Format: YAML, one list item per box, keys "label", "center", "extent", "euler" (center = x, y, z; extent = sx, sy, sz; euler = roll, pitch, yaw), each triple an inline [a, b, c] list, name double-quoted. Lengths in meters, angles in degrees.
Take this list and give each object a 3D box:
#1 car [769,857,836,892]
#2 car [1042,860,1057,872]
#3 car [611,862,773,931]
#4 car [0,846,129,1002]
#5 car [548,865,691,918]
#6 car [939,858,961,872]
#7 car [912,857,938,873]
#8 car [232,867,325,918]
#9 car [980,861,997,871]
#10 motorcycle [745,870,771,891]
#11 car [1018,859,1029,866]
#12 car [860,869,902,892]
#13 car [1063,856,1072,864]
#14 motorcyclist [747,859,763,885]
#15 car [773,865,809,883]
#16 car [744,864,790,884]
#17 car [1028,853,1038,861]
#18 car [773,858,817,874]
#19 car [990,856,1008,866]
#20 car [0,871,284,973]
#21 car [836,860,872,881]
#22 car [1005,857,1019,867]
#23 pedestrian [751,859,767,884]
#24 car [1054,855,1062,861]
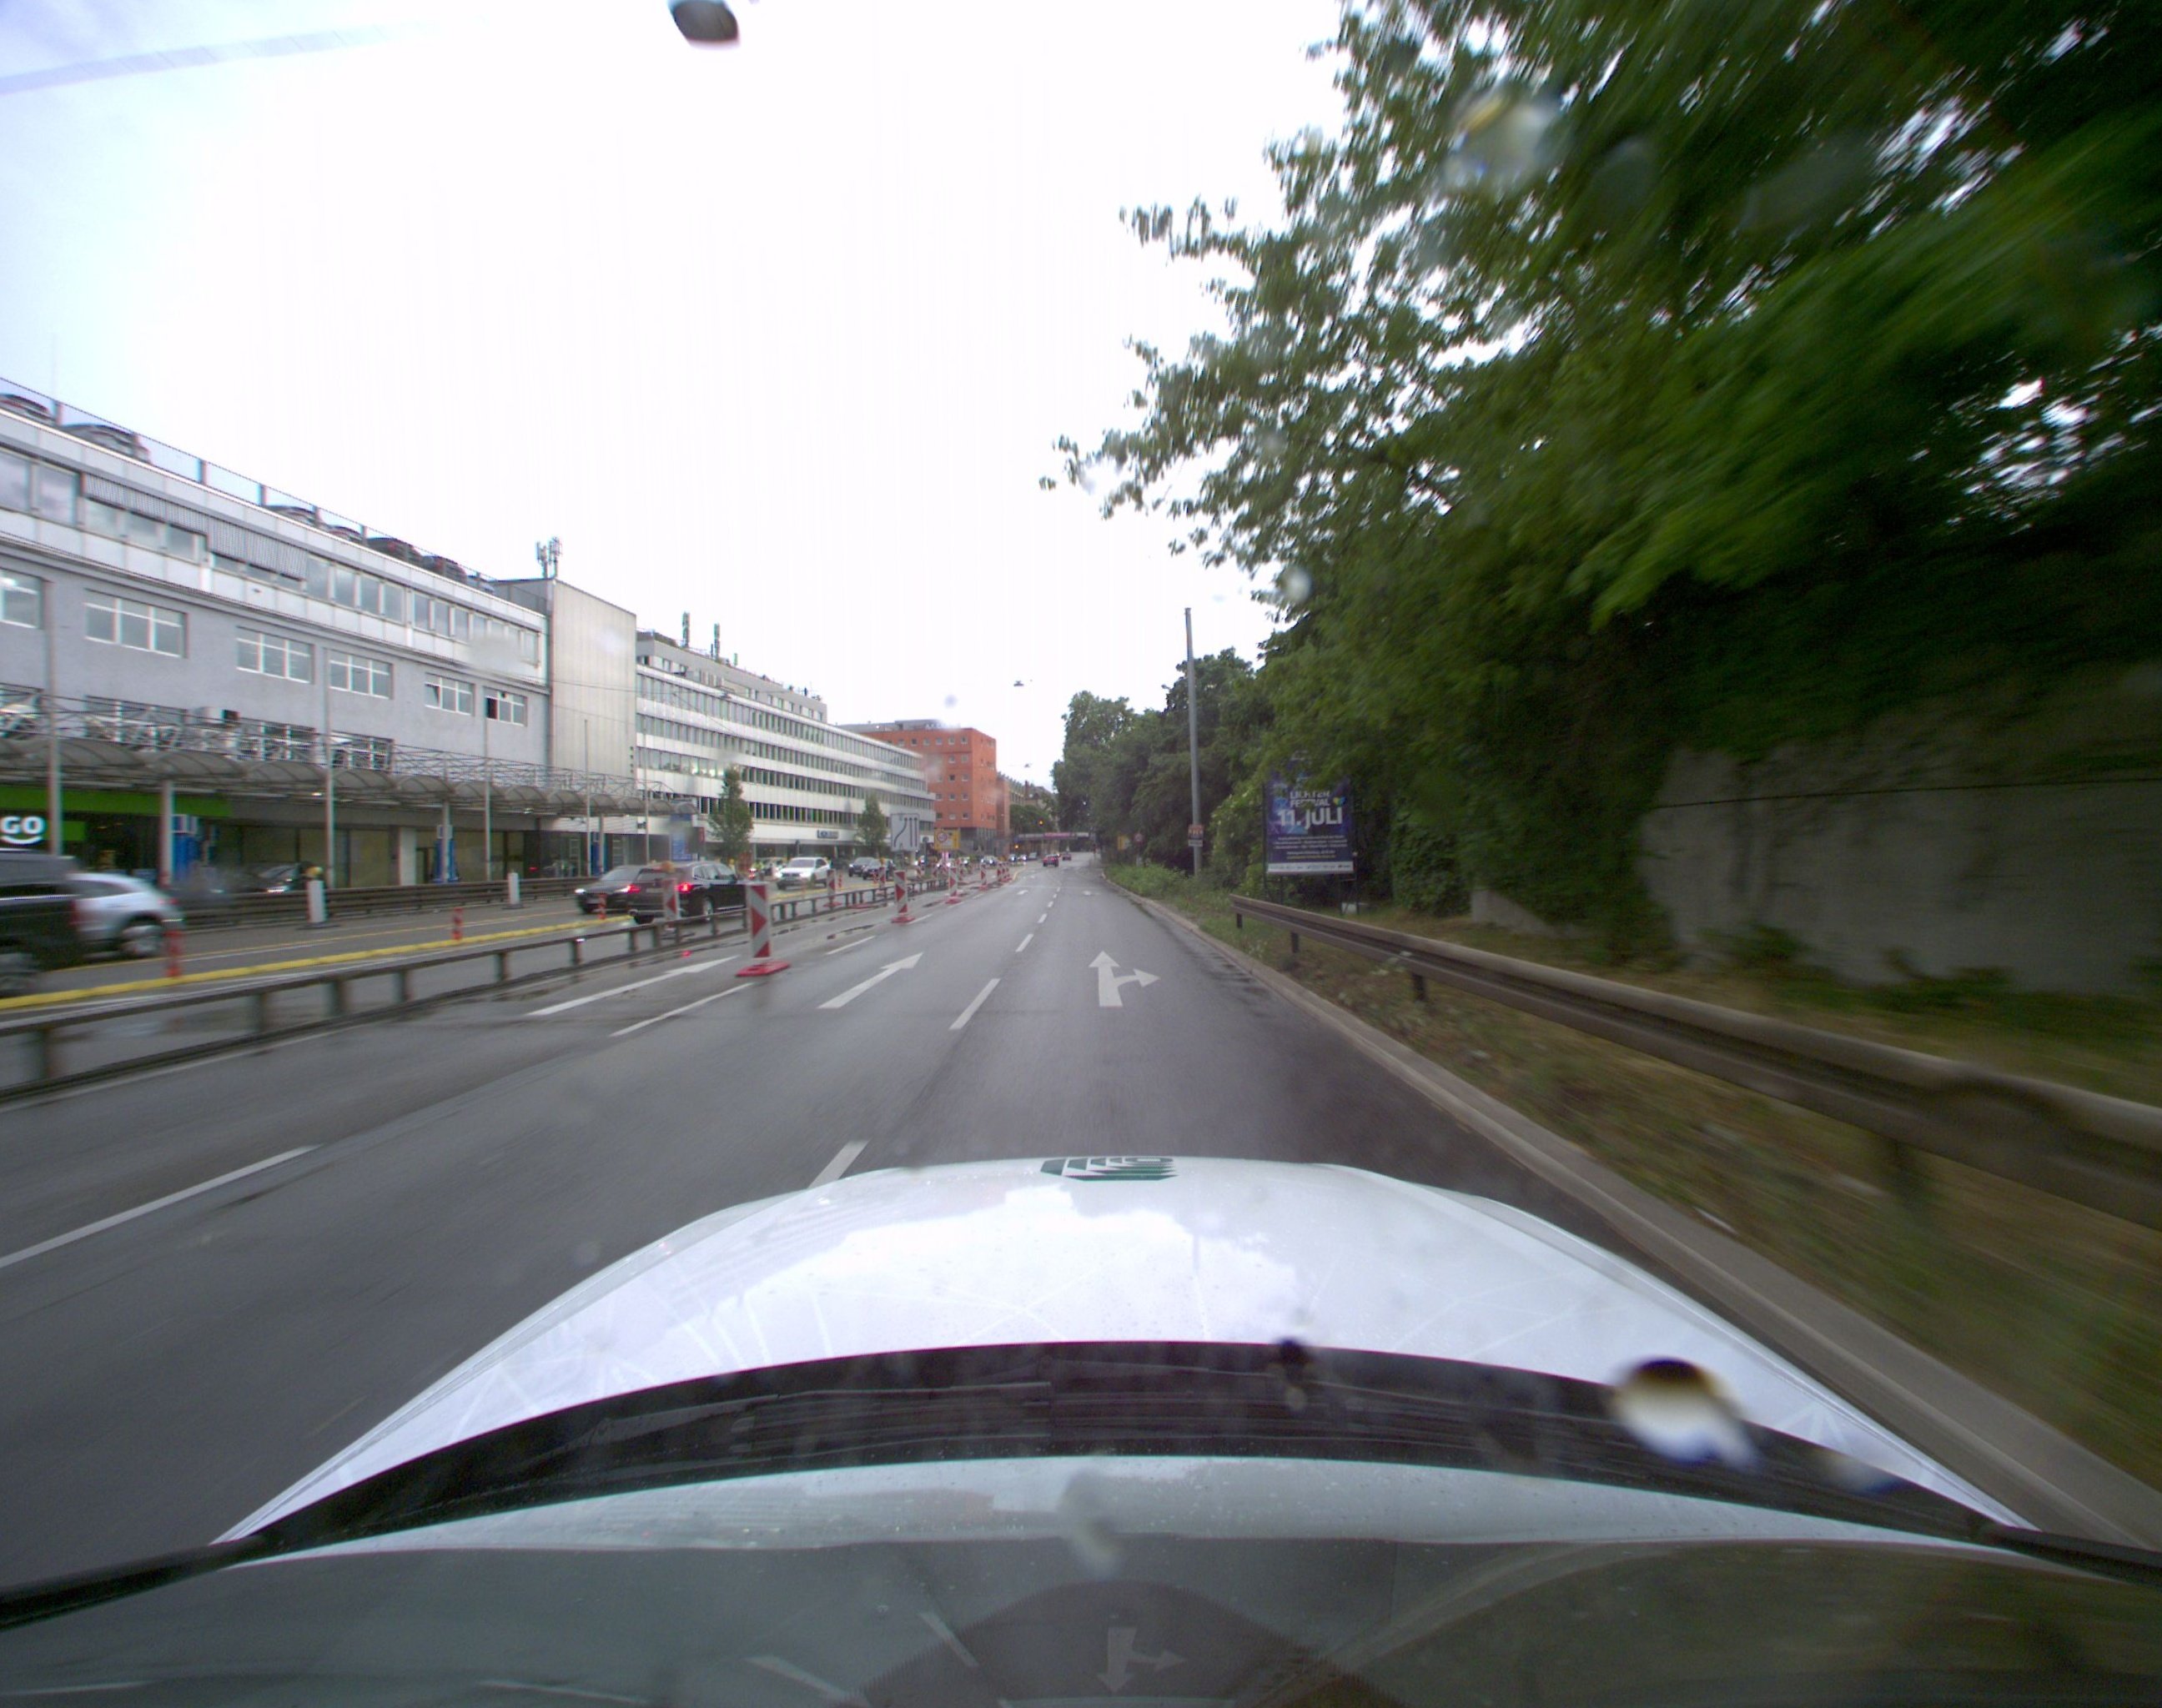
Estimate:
- label: "car"
  center: [-14.795, 1.048, 43.523]
  extent: [1.932, 1.690, 4.579]
  euler: [-2, 0, 0]
- label: "car"
  center: [-4.623, 1.750, 120.673]
  extent: [2.114, 1.734, 4.197]
  euler: [1, 1, 0]
- label: "car"
  center: [-10.612, 1.081, 22.673]
  extent: [1.938, 1.597, 4.676]
  euler: [1, 1, 5]
- label: "car"
  center: [-14.513, 0.903, 8.895]
  extent: [1.987, 1.936, 5.231]
  euler: [-2, -1, 1]
- label: "car"
  center: [-14.607, 1.136, 26.151]
  extent: [1.845, 1.466, 4.707]
  euler: [-2, -1, 0]
- label: "car"
  center: [-13.794, 1.184, 85.954]
  extent: [1.730, 1.404, 4.287]
  euler: [0, -1, -1]
- label: "car"
  center: [-17.655, 1.278, 92.439]
  extent: [1.974, 1.707, 4.829]
  euler: [-1, -1, -1]
- label: "car"
  center: [-29.372, 1.393, 29.778]
  extent: [4.422, 1.679, 2.027]
  euler: [-3, -1, 40]
- label: "car"
  center: [-15.220, 1.920, 133.648]
  extent: [1.798, 1.558, 4.308]
  euler: [-1, -1, 6]
- label: "motorcycle"
  center: [-17.837, 1.448, 45.062]
  extent: [0.577, 1.102, 2.028]
  euler: [-2, -1, 1]
- label: "car"
  center: [-11.963, 1.760, 170.077]
  extent: [1.822, 1.502, 4.376]
  euler: [-2, -1, 3]
- label: "car"
  center: [-14.269, 1.855, 58.286]
  extent: [1.953, 1.521, 4.299]
  euler: [-1, 0, 0]
- label: "car"
  center: [-3.044, 1.245, 181.278]
  extent: [1.756, 1.697, 3.707]
  euler: [-2, -1, 2]
- label: "motorcyclist"
  center: [-17.850, 0.977, 44.575]
  extent: [0.586, 1.363, 0.561]
  euler: [-2, 0, 0]
- label: "car"
  center: [-27.193, 1.835, 76.436]
  extent: [1.644, 1.535, 3.762]
  euler: [-2, -1, 6]
- label: "car"
  center: [-30.294, 1.941, 78.648]
  extent: [1.836, 1.779, 4.744]
  euler: [-2, -1, 11]
- label: "car"
  center: [-10.877, 0.650, 184.571]
  extent: [1.726, 1.786, 4.305]
  euler: [-2, -1, 3]
- label: "car"
  center: [-32.485, 1.330, 92.490]
  extent: [4.403, 1.652, 1.834]
  euler: [-2, -1, -34]
- label: "car"
  center: [-12.249, 1.073, 121.964]
  extent: [1.680, 1.354, 4.122]
  euler: [-2, -1, 6]
- label: "car"
  center: [-17.922, 1.160, 15.221]
  extent: [1.741, 1.585, 4.266]
  euler: [-2, -1, 1]
- label: "car"
  center: [-17.822, 1.280, 64.060]
  extent: [1.705, 1.536, 4.076]
  euler: [-2, 0, 0]
- label: "car"
  center: [-13.307, 1.529, 156.621]
  extent: [1.836, 1.737, 4.612]
  euler: [-1, -1, 6]
- label: "pedestrian"
  center: [-17.856, 0.966, 45.166]
  extent: [0.586, 1.363, 0.561]
  euler: [-2, 0, 0]
- label: "car"
  center: [-6.671, 1.184, 232.343]
  extent: [1.986, 1.519, 4.002]
  euler: [0, 0, 2]
